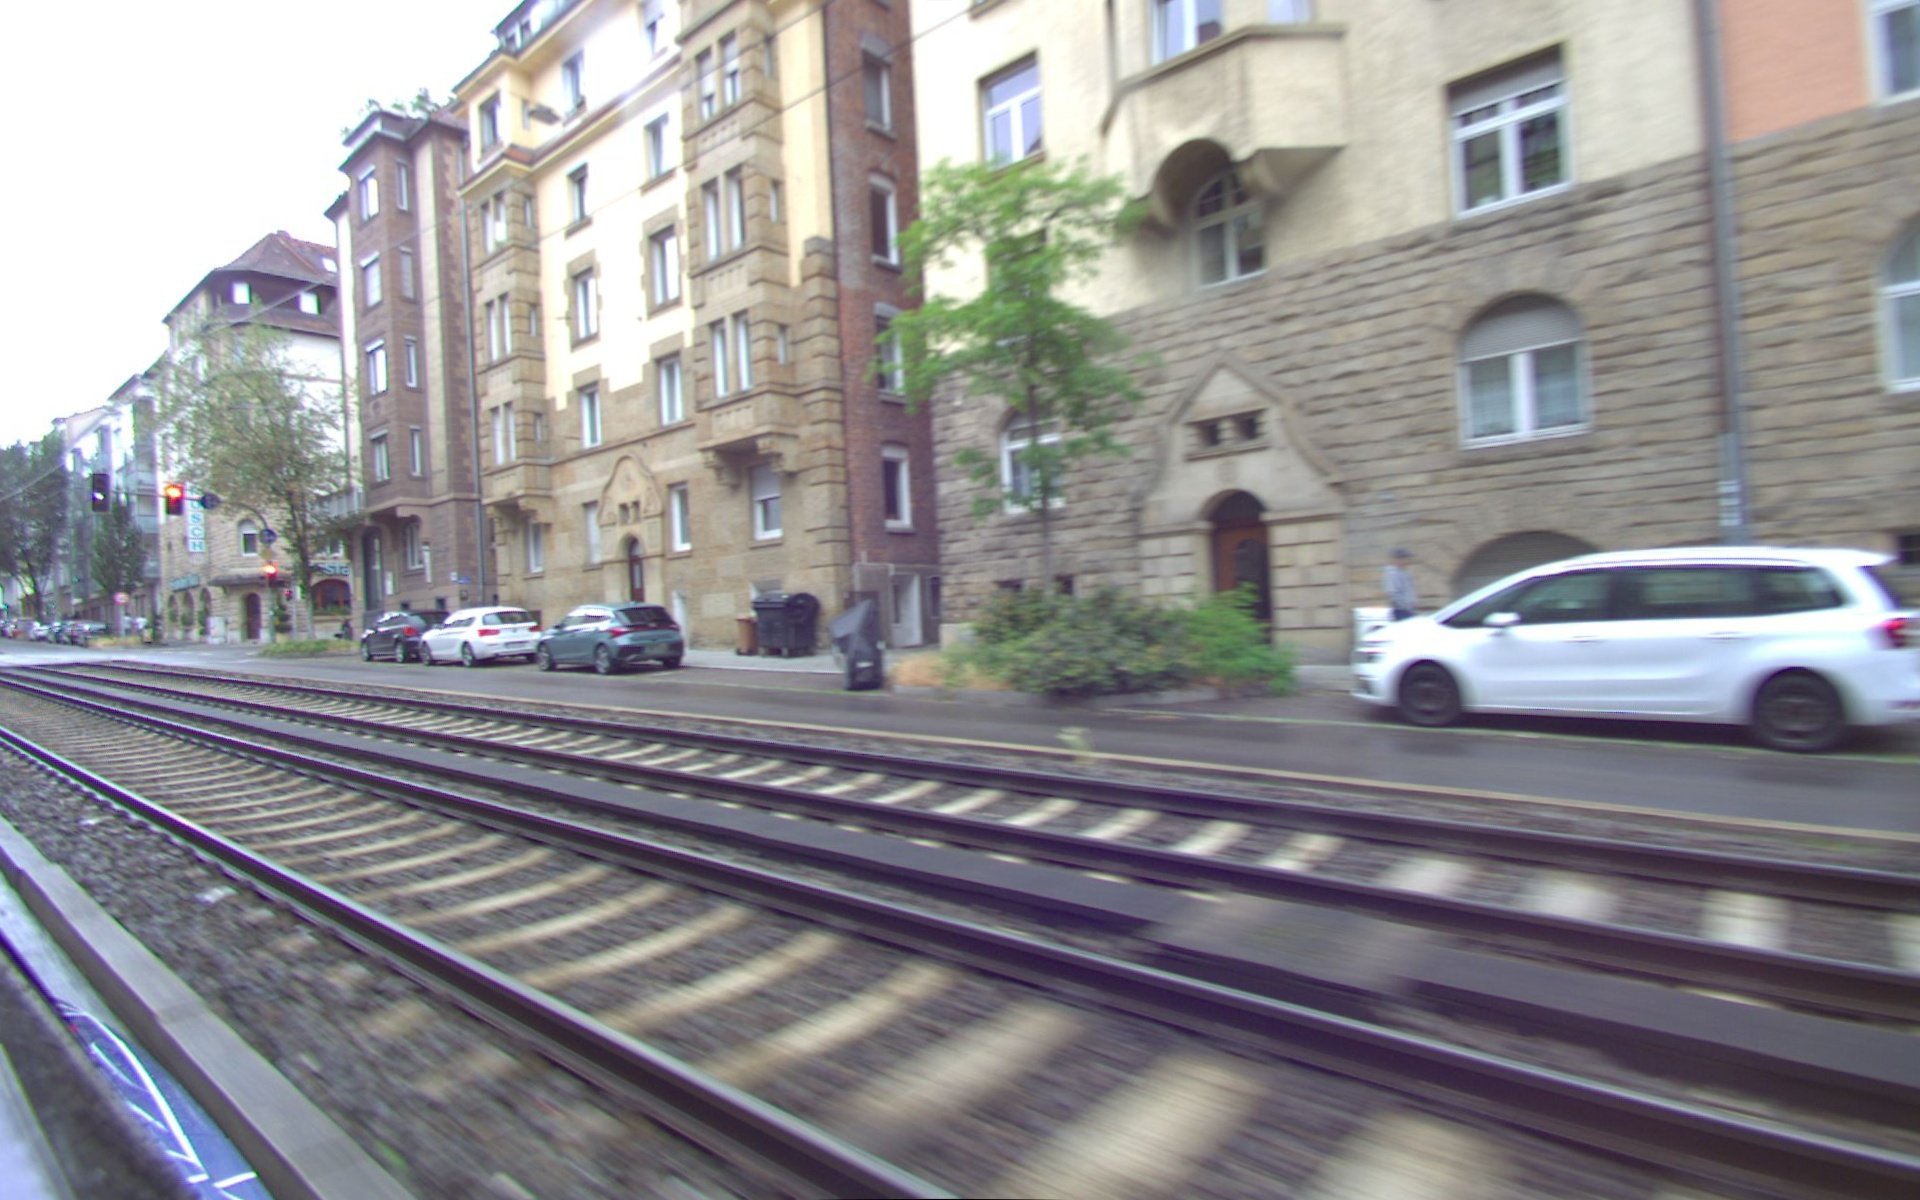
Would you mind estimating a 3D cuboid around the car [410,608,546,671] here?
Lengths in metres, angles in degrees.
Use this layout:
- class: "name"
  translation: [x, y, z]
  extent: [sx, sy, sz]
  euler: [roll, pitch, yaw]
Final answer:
- class: "car"
  translation: [-12.384, 0.973, 25.866]
  extent: [4.262, 1.436, 1.649]
  euler: [-2, 0, 42]

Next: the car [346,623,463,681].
- class: "car"
  translation: [-16.149, 1.448, 29.360]
  extent: [3.999, 1.497, 1.746]
  euler: [-1, 0, 42]

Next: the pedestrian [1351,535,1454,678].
- class: "pedestrian"
  translation: [5.779, 0.066, 13.200]
  extent: [0.924, 1.766, 0.997]
  euler: [-2, 1, 41]

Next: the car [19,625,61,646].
- class: "car"
  translation: [-64.929, 2.473, 71.430]
  extent: [4.128, 1.345, 1.685]
  euler: [-1, 2, 41]

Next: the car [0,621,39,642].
- class: "car"
  translation: [-73.439, 2.440, 79.006]
  extent: [4.155, 1.581, 1.758]
  euler: [-1, 0, 40]

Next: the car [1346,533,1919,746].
- class: "car"
  translation: [6.120, 0.317, 9.481]
  extent: [4.342, 1.601, 1.769]
  euler: [-2, 1, 36]

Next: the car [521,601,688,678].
- class: "car"
  translation: [-7.773, 0.815, 21.935]
  extent: [4.144, 1.448, 1.545]
  euler: [-2, 1, 41]

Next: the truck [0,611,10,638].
- class: "truck"
  translation: [-89.374, 2.276, 93.303]
  extent: [6.352, 2.363, 2.168]
  euler: [0, 0, 43]

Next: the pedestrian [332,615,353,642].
- class: "pedestrian"
  translation: [-34.080, 1.564, 55.822]
  extent: [0.721, 1.426, 0.808]
  euler: [-2, 0, 44]

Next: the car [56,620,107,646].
- class: "car"
  translation: [-54.080, 2.007, 62.287]
  extent: [3.522, 1.509, 1.789]
  euler: [-2, 0, 39]

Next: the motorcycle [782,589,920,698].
- class: "motorcycle"
  translation: [-1.739, 0.660, 16.615]
  extent: [1.285, 1.655, 2.249]
  euler: [-2, 0, 24]

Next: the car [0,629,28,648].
- class: "car"
  translation: [-78.852, 3.175, 83.772]
  extent: [4.465, 1.451, 1.887]
  euler: [-1, 0, 40]

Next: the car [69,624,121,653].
- class: "car"
  translation: [-50.871, 2.255, 59.493]
  extent: [3.892, 1.564, 1.747]
  euler: [-2, 0, 40]

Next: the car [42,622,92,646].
- class: "car"
  translation: [-57.852, 2.189, 65.545]
  extent: [4.427, 1.466, 1.783]
  euler: [-2, 0, 40]
